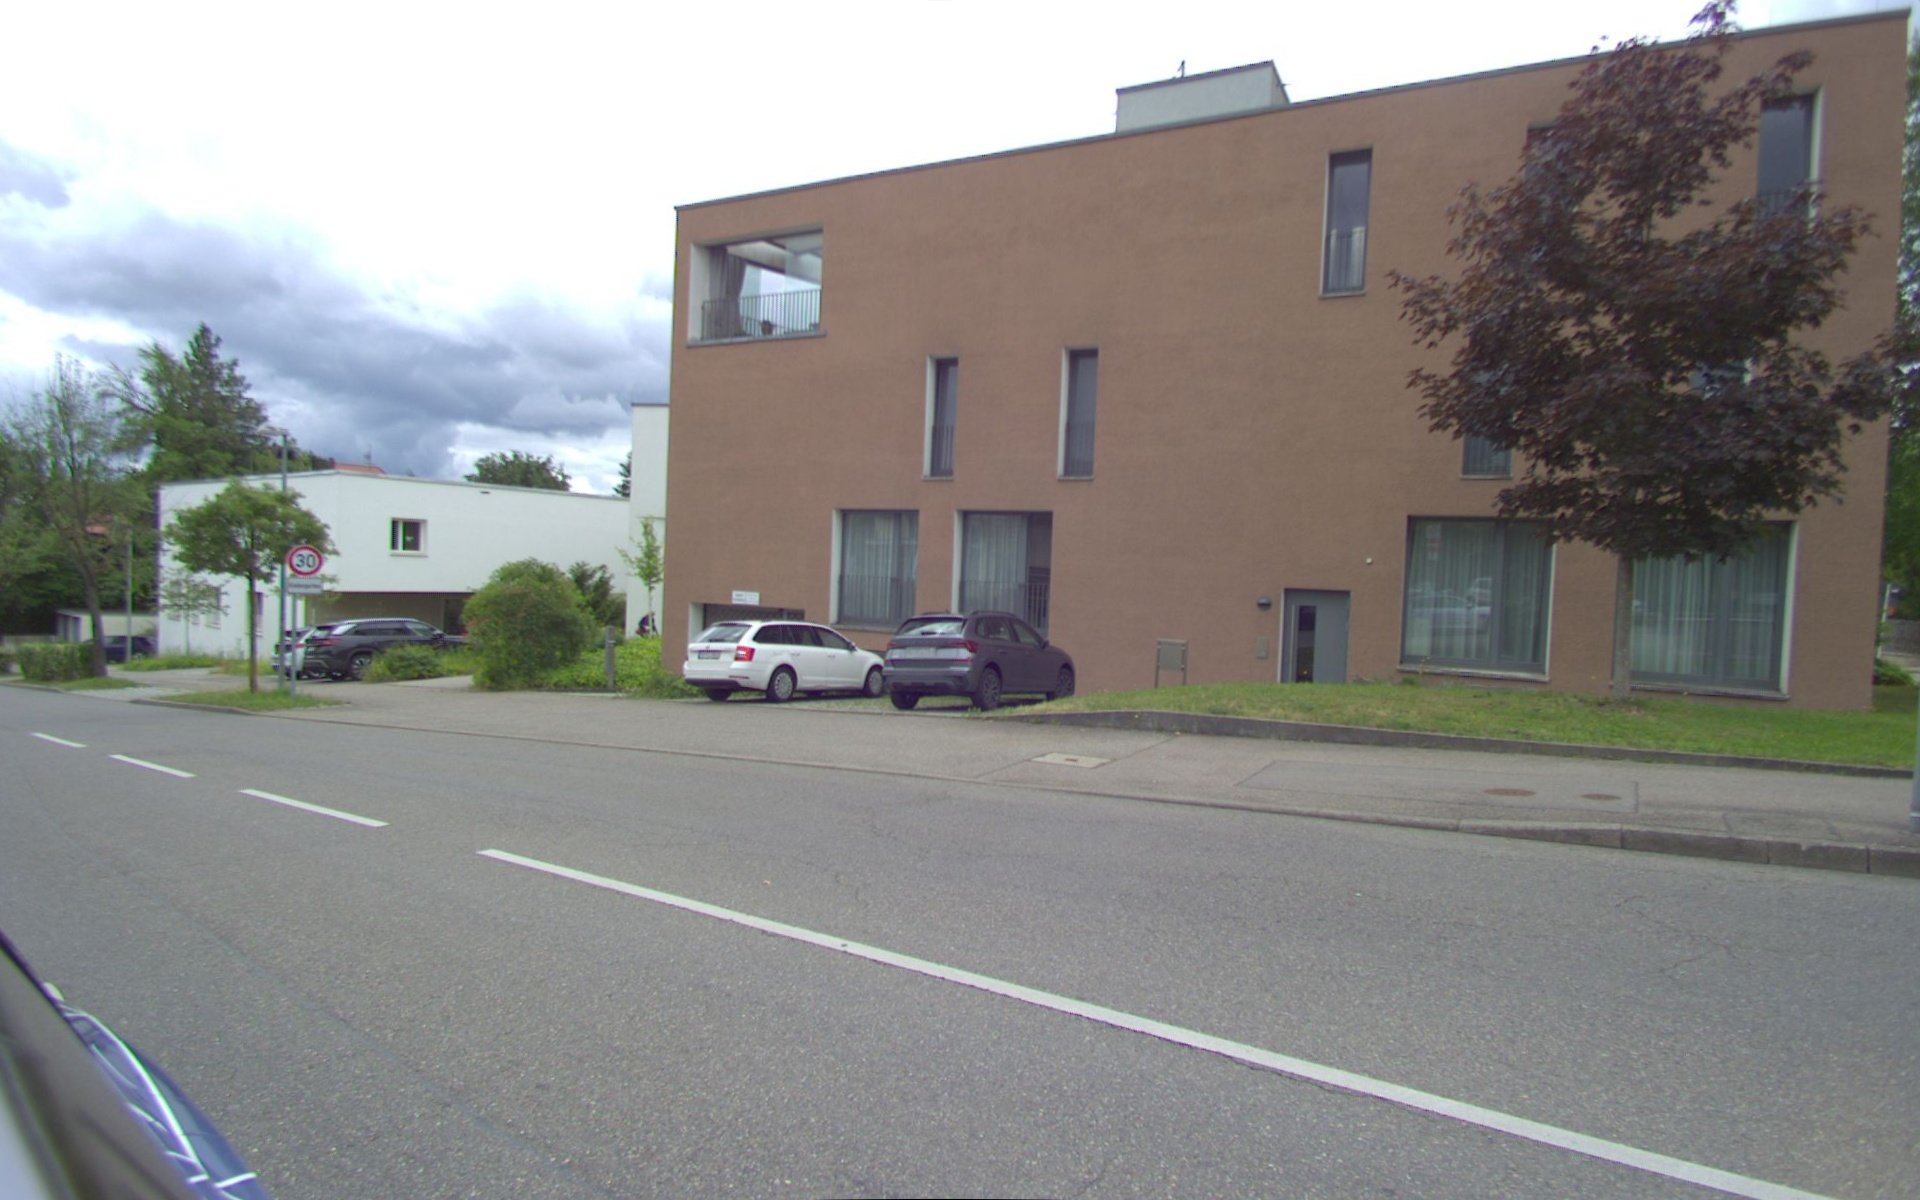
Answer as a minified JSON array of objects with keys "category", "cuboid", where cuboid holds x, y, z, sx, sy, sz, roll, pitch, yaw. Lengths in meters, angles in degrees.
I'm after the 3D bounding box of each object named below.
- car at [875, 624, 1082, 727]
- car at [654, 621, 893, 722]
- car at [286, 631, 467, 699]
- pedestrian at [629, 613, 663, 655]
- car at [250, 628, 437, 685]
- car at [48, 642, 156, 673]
[{"category":"car","cuboid":[0.415,1.171,16.474,1.726,1.475,3.731,-3,-3,31]},{"category":"car","cuboid":[-3.344,1.247,18.920,2.009,1.635,4.223,-1,-2,34]},{"category":"car","cuboid":[-16.298,1.759,28.406,2.006,1.666,3.948,-2,-1,38]},{"category":"pedestrian","cuboid":[-9.965,1.062,32.070,0.898,1.293,0.601,-2,-1,37]},{"category":"car","cuboid":[-18.343,1.649,30.305,2.062,1.578,4.347,-2,-3,36]},{"category":"car","cuboid":[-42.515,2.827,50.229,1.736,1.364,3.765,-2,-2,32]}]
